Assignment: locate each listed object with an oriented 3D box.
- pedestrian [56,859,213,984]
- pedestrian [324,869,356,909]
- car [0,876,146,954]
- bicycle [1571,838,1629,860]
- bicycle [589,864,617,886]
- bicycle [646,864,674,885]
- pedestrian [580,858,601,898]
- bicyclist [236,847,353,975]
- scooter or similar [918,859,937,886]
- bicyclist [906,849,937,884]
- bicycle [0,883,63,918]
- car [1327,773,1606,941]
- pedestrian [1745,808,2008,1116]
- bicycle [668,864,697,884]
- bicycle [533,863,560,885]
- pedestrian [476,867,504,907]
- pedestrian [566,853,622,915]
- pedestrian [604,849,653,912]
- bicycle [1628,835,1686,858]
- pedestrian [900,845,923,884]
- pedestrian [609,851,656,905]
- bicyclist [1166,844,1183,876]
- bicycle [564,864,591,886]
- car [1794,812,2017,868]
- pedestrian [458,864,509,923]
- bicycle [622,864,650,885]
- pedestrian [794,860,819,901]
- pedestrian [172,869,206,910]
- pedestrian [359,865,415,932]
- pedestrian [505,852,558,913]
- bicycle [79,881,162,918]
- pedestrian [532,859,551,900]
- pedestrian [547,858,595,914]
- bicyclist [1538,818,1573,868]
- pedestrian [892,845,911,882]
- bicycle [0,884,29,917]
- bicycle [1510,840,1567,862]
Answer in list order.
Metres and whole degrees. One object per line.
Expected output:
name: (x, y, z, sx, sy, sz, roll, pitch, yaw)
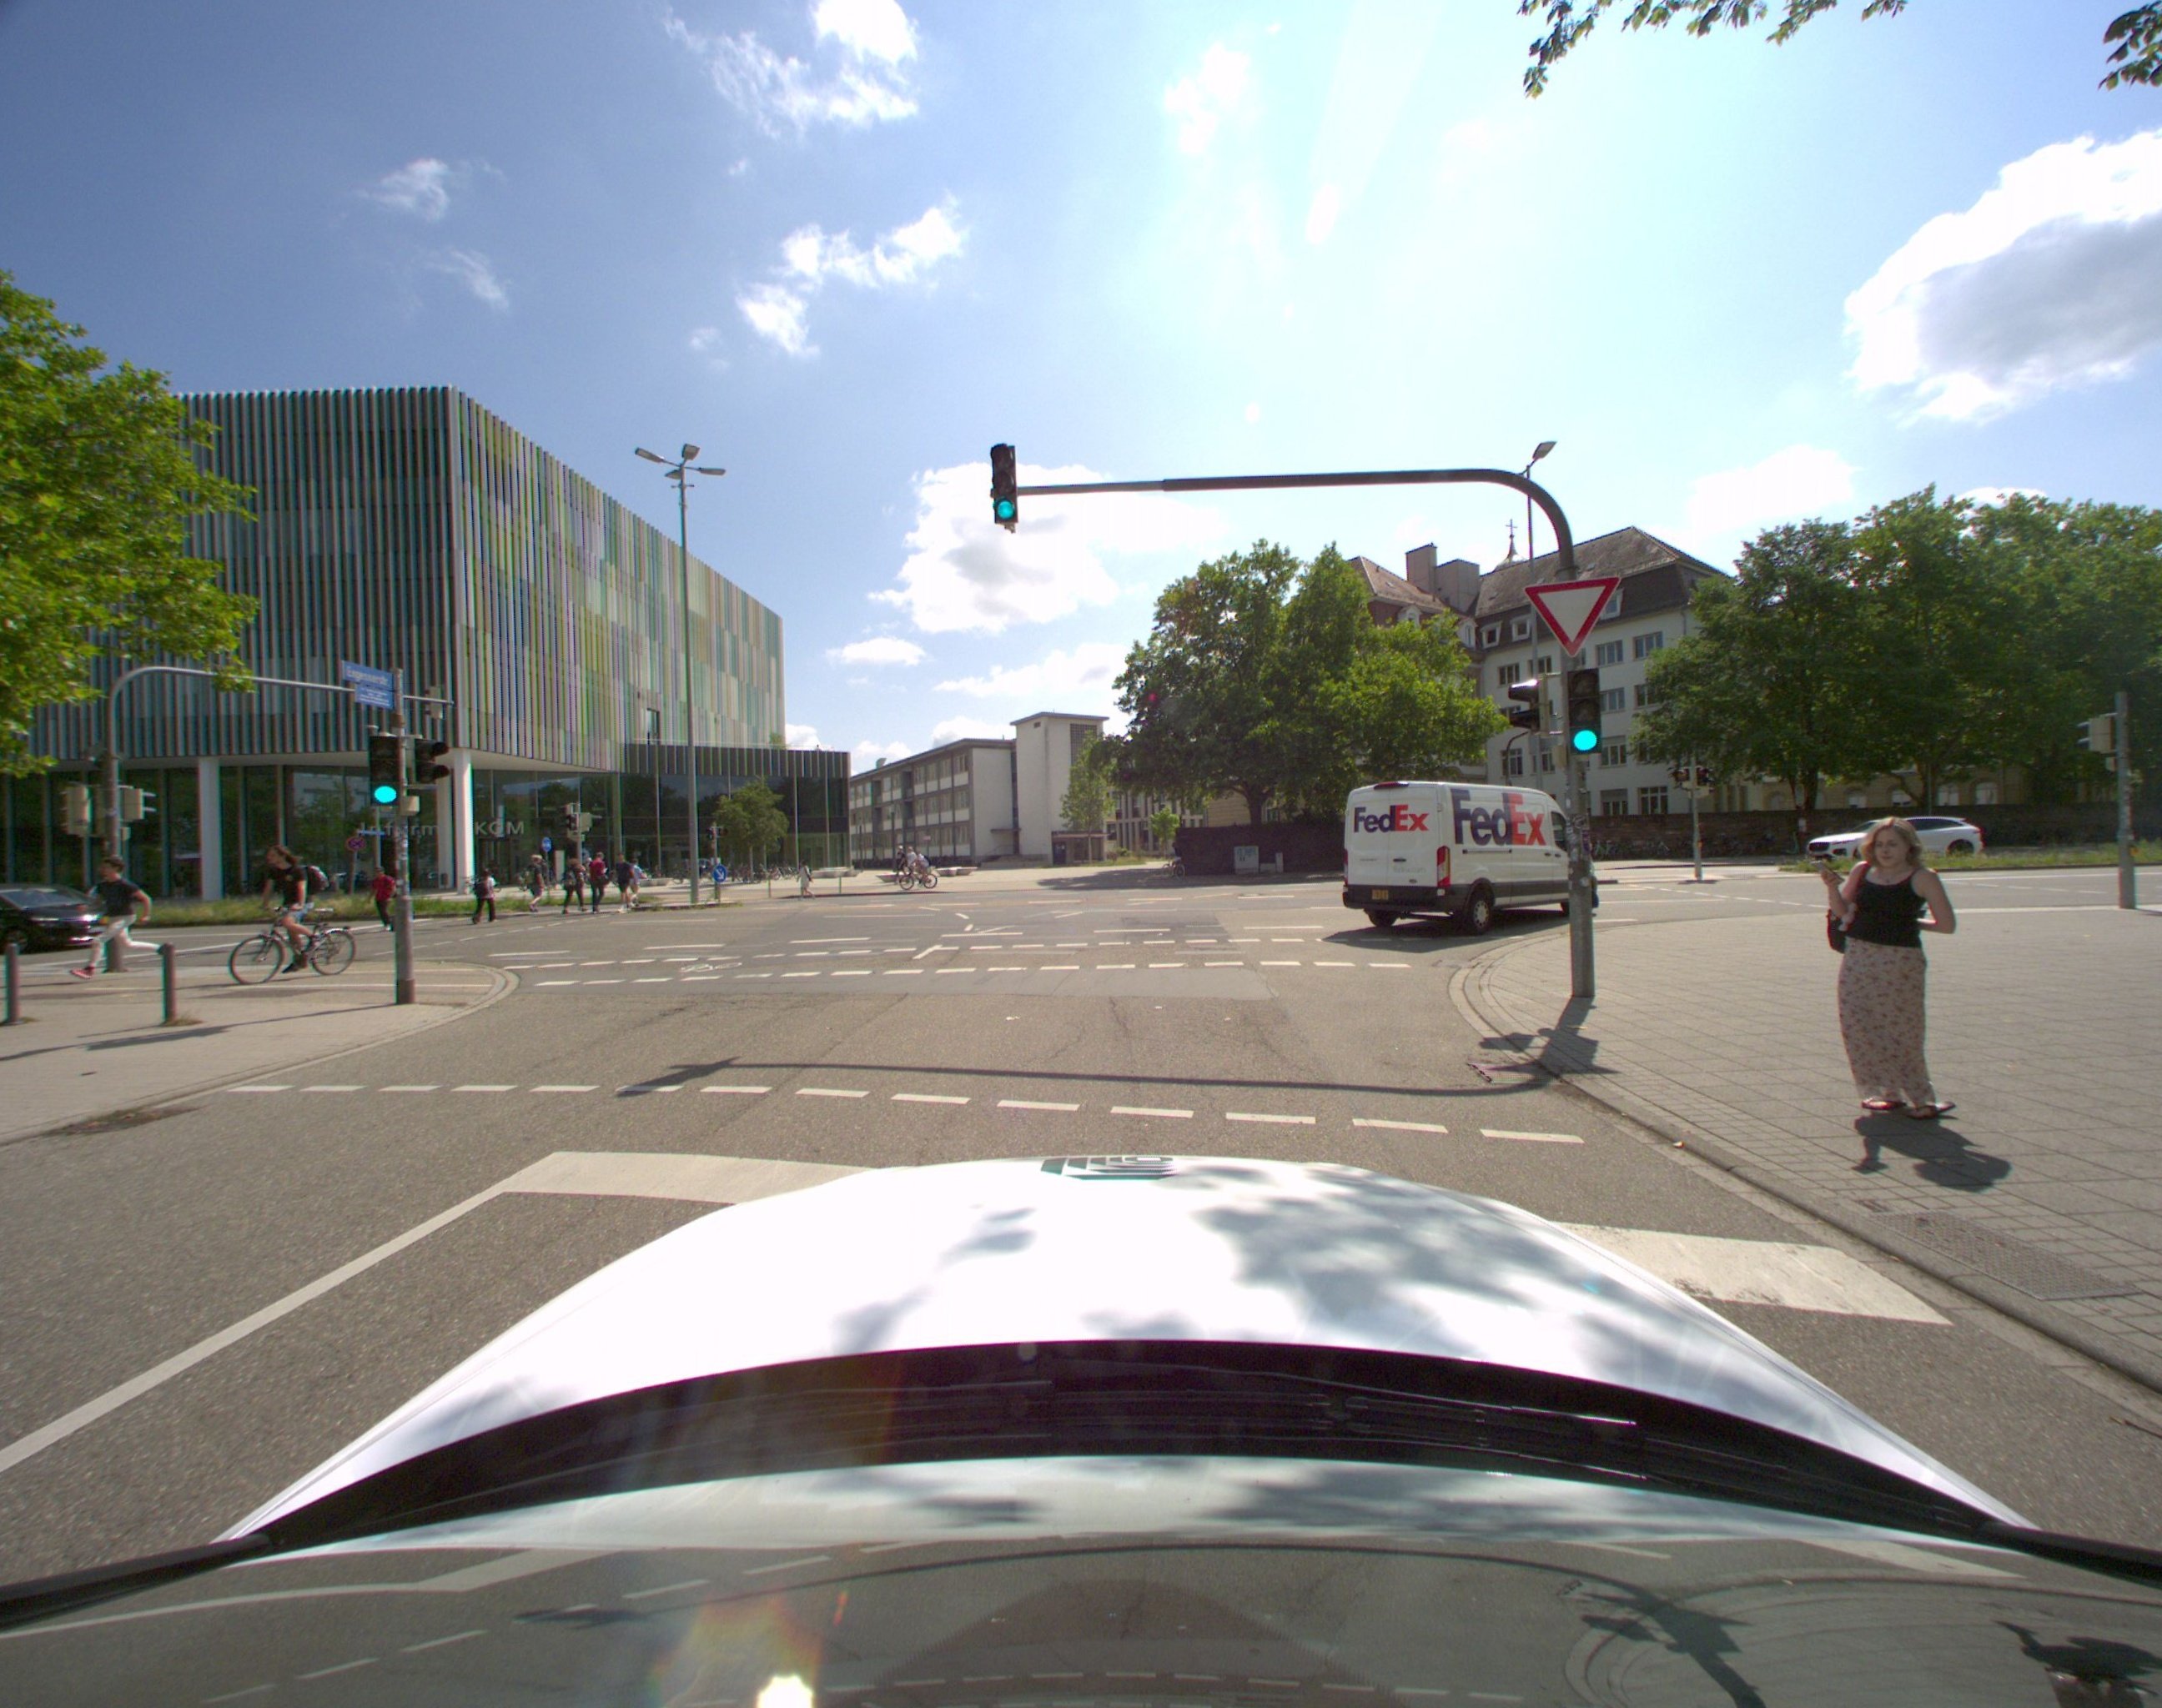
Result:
pedestrian: (-14.908, 1.038, 12.889, 0.698, 1.856, 1.403, -2, -3, 11)
pedestrian: (-44.679, 2.080, 49.138, 0.969, 2.345, 1.015, -1, 0, 2)
car: (-25.825, 1.502, 19.807, 4.264, 1.660, 1.654, -2, 2, 2)
bicycle: (25.441, -0.255, 39.961, 2.374, 0.994, 0.753, -2, 0, -2)
bicycle: (-28.574, 1.261, 48.668, 1.206, 1.237, 2.919, -1, 0, -35)
bicycle: (-26.376, 1.272, 50.988, 1.206, 1.237, 2.919, -1, 0, -35)
pedestrian: (-31.887, 1.540, 52.890, 0.981, 2.565, 1.002, -1, 0, -41)
bicyclist: (-11.754, 0.832, 12.195, 0.783, 1.817, 1.004, -2, -2, 20)
scooter or similar: (-7.380, 0.867, 39.059, 0.718, 1.178, 2.712, -2, 1, -15)
bicyclist: (-7.126, 0.552, 36.407, 0.841, 1.468, 1.074, -2, 0, 25)
bicycle: (-59.772, 2.630, 45.874, 0.955, 1.838, 2.955, -1, 0, 4)
car: (7.181, -0.068, 14.896, 5.626, 2.566, 2.079, -3, 1, -35)
pedestrian: (4.452, 0.570, 4.639, 0.725, 1.575, 0.779, -5, 0, 19)
bicycle: (-25.332, 1.242, 51.744, 1.206, 1.237, 2.919, -1, 0, -35)
bicycle: (-30.752, 1.136, 46.861, 1.206, 1.237, 2.919, -1, 0, -35)
pedestrian: (-37.999, 2.116, 52.380, 0.969, 2.565, 1.015, -1, 0, 2)
pedestrian: (-14.849, 0.899, 24.865, 0.802, 1.807, 1.268, -2, 0, 4)
pedestrian: (-14.023, 0.810, 25.259, 0.827, 1.870, 1.084, -2, 0, -1)
bicycle: (28.457, -0.369, 40.232, 2.374, 0.994, 0.753, -2, 0, -2)
pedestrian: (-8.457, 0.522, 40.603, 0.870, 1.889, 0.904, -2, 0, -30)
pedestrian: (-15.693, 0.839, 28.507, 0.853, 1.819, 1.102, -2, 0, 25)
bicyclist: (4.323, 0.256, 37.576, 0.514, 1.452, 0.784, -2, 0, -12)
bicycle: (-29.640, 1.228, 47.897, 1.206, 1.237, 2.919, -1, 0, -35)
car: (28.231, -0.459, 28.057, 5.259, 1.641, 2.005, -2, 0, 7)
pedestrian: (-16.726, 1.092, 22.810, 0.767, 1.597, 0.799, -2, 0, 3)
bicycle: (-27.450, 1.262, 50.226, 1.206, 1.237, 2.919, -1, 0, -35)
pedestrian: (-10.591, 0.999, 31.454, 0.827, 1.523, 0.810, -2, 0, -18)
pedestrian: (-52.227, 2.059, 47.702, 0.969, 2.345, 0.890, -1, 0, 1)
pedestrian: (-18.282, 1.163, 21.461, 0.750, 1.678, 0.756, -2, 0, 3)
pedestrian: (-17.386, 0.894, 25.774, 0.845, 1.876, 1.012, -2, 0, 22)
bicycle: (-53.465, 2.500, 45.405, 0.955, 1.838, 2.955, -1, 0, 5)
pedestrian: (-34.173, 1.585, 51.583, 0.980, 2.565, 1.004, -1, 0, -34)
pedestrian: (-15.730, 0.987, 25.135, 0.821, 1.654, 0.863, -2, 0, 7)
bicyclist: (16.414, -0.366, 28.163, 0.880, 1.672, 0.687, -2, 0, 19)
pedestrian: (-9.094, 0.482, 41.216, 0.673, 1.815, 0.807, -2, 0, -32)
bicycle: (-61.849, 2.673, 45.970, 0.955, 1.838, 2.954, -1, 0, 4)
bicycle: (22.348, -0.151, 39.766, 2.374, 0.994, 0.753, -2, 0, -2)
